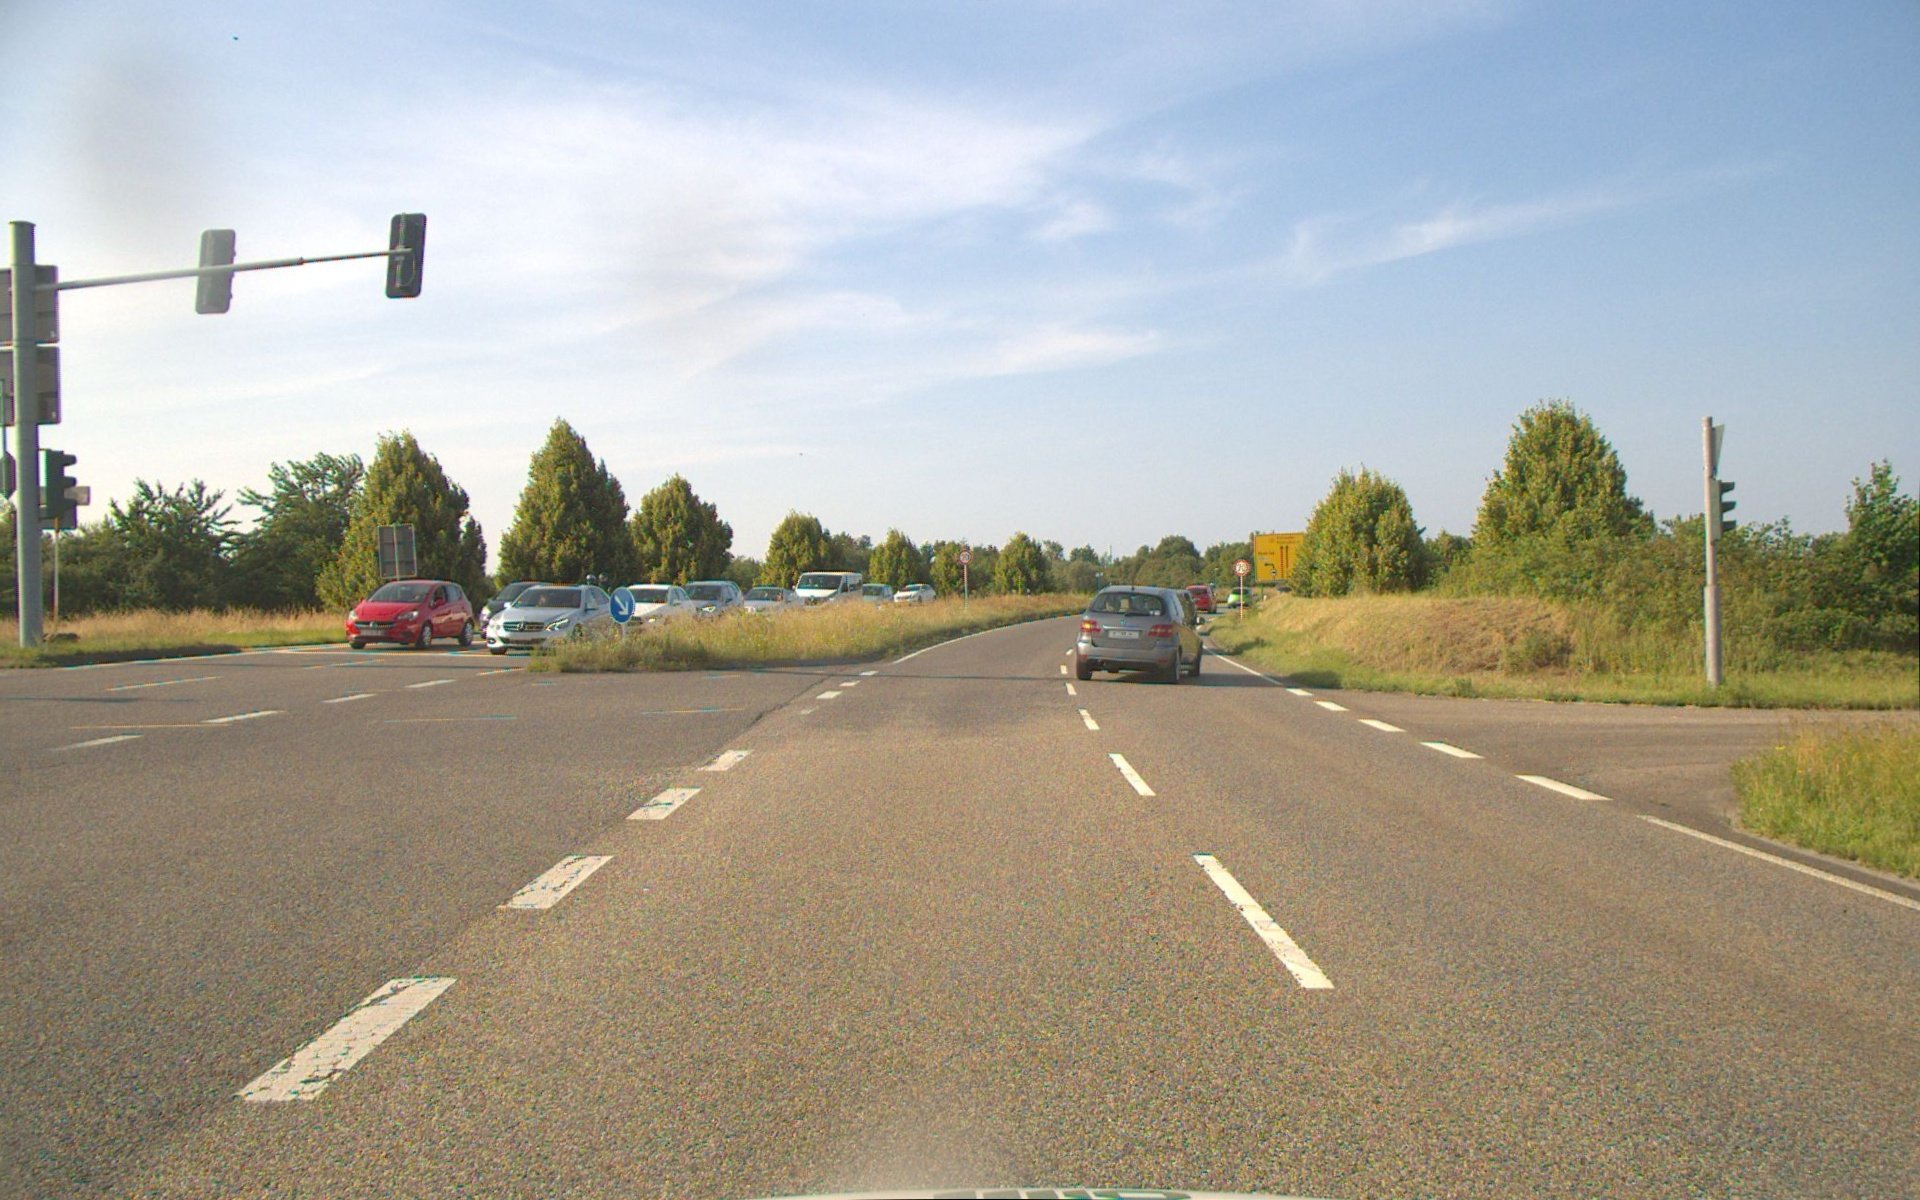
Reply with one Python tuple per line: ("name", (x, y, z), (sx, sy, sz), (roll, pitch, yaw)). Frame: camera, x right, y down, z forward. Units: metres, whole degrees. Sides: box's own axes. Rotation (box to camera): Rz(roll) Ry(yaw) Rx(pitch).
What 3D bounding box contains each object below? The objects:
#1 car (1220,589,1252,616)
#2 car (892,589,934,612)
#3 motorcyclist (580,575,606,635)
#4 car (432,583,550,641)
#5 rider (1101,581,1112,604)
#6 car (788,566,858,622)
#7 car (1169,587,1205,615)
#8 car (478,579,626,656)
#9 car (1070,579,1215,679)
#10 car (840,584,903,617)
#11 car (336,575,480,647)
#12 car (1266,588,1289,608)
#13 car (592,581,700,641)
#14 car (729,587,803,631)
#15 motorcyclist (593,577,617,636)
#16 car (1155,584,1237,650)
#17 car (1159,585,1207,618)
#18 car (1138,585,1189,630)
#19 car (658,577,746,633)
("car", (19.341, 0.180, 115.742), (1.868, 1.831, 4.281), (0, -1, 13))
("car", (-3.000, 0.024, 106.920), (1.748, 1.410, 4.055), (-1, 0, 13))
("motorcyclist", (-10.876, 0.149, 49.024), (0.649, 1.778, 0.605), (0, 0, -4))
("car", (-12.367, 0.297, 43.895), (1.748, 1.458, 4.053), (-1, 0, 4))
("rider", (13.235, -0.683, 149.314), (0.849, 2.049, 0.772), (0, 0, 15))
("car", (-5.342, -0.239, 64.932), (1.884, 2.114, 4.246), (-1, 0, 7))
("car", (13.437, 0.074, 97.824), (1.854, 1.592, 4.281), (0, -1, 11))
("car", (-8.604, 0.346, 35.316), (1.748, 1.514, 4.653), (-1, 0, 4))
("car", (3.299, 0.515, 29.218), (1.747, 1.633, 4.197), (0, -1, 18))
("car", (-3.885, -0.003, 73.133), (1.748, 1.410, 4.055), (-1, 0, 13))
("car", (-12.235, 0.220, 36.929), (1.684, 1.514, 3.806), (-1, 0, 4))
("car", (29.266, -0.190, 152.493), (1.868, 1.765, 4.281), (0, -1, 13))
("car", (-8.105, 0.263, 43.042), (1.748, 1.458, 4.311), (-1, 0, 4))
("car", (-6.467, 0.288, 55.521), (1.748, 1.410, 4.053), (-1, 0, 4))
("motorcyclist", (-11.190, 0.197, 52.130), (0.649, 1.848, 0.605), (0, 0, -4))
("car", (6.120, 0.414, 42.559), (1.771, 1.593, 4.535), (0, 0, 12))
("car", (10.331, 0.099, 76.540), (1.874, 1.440, 3.798), (0, -1, 13))
("car", (7.224, 0.236, 58.472), (1.735, 1.518, 3.988), (0, 0, 8))
("car", (-7.646, 0.132, 49.294), (1.748, 1.596, 4.053), (-1, 0, 4))
